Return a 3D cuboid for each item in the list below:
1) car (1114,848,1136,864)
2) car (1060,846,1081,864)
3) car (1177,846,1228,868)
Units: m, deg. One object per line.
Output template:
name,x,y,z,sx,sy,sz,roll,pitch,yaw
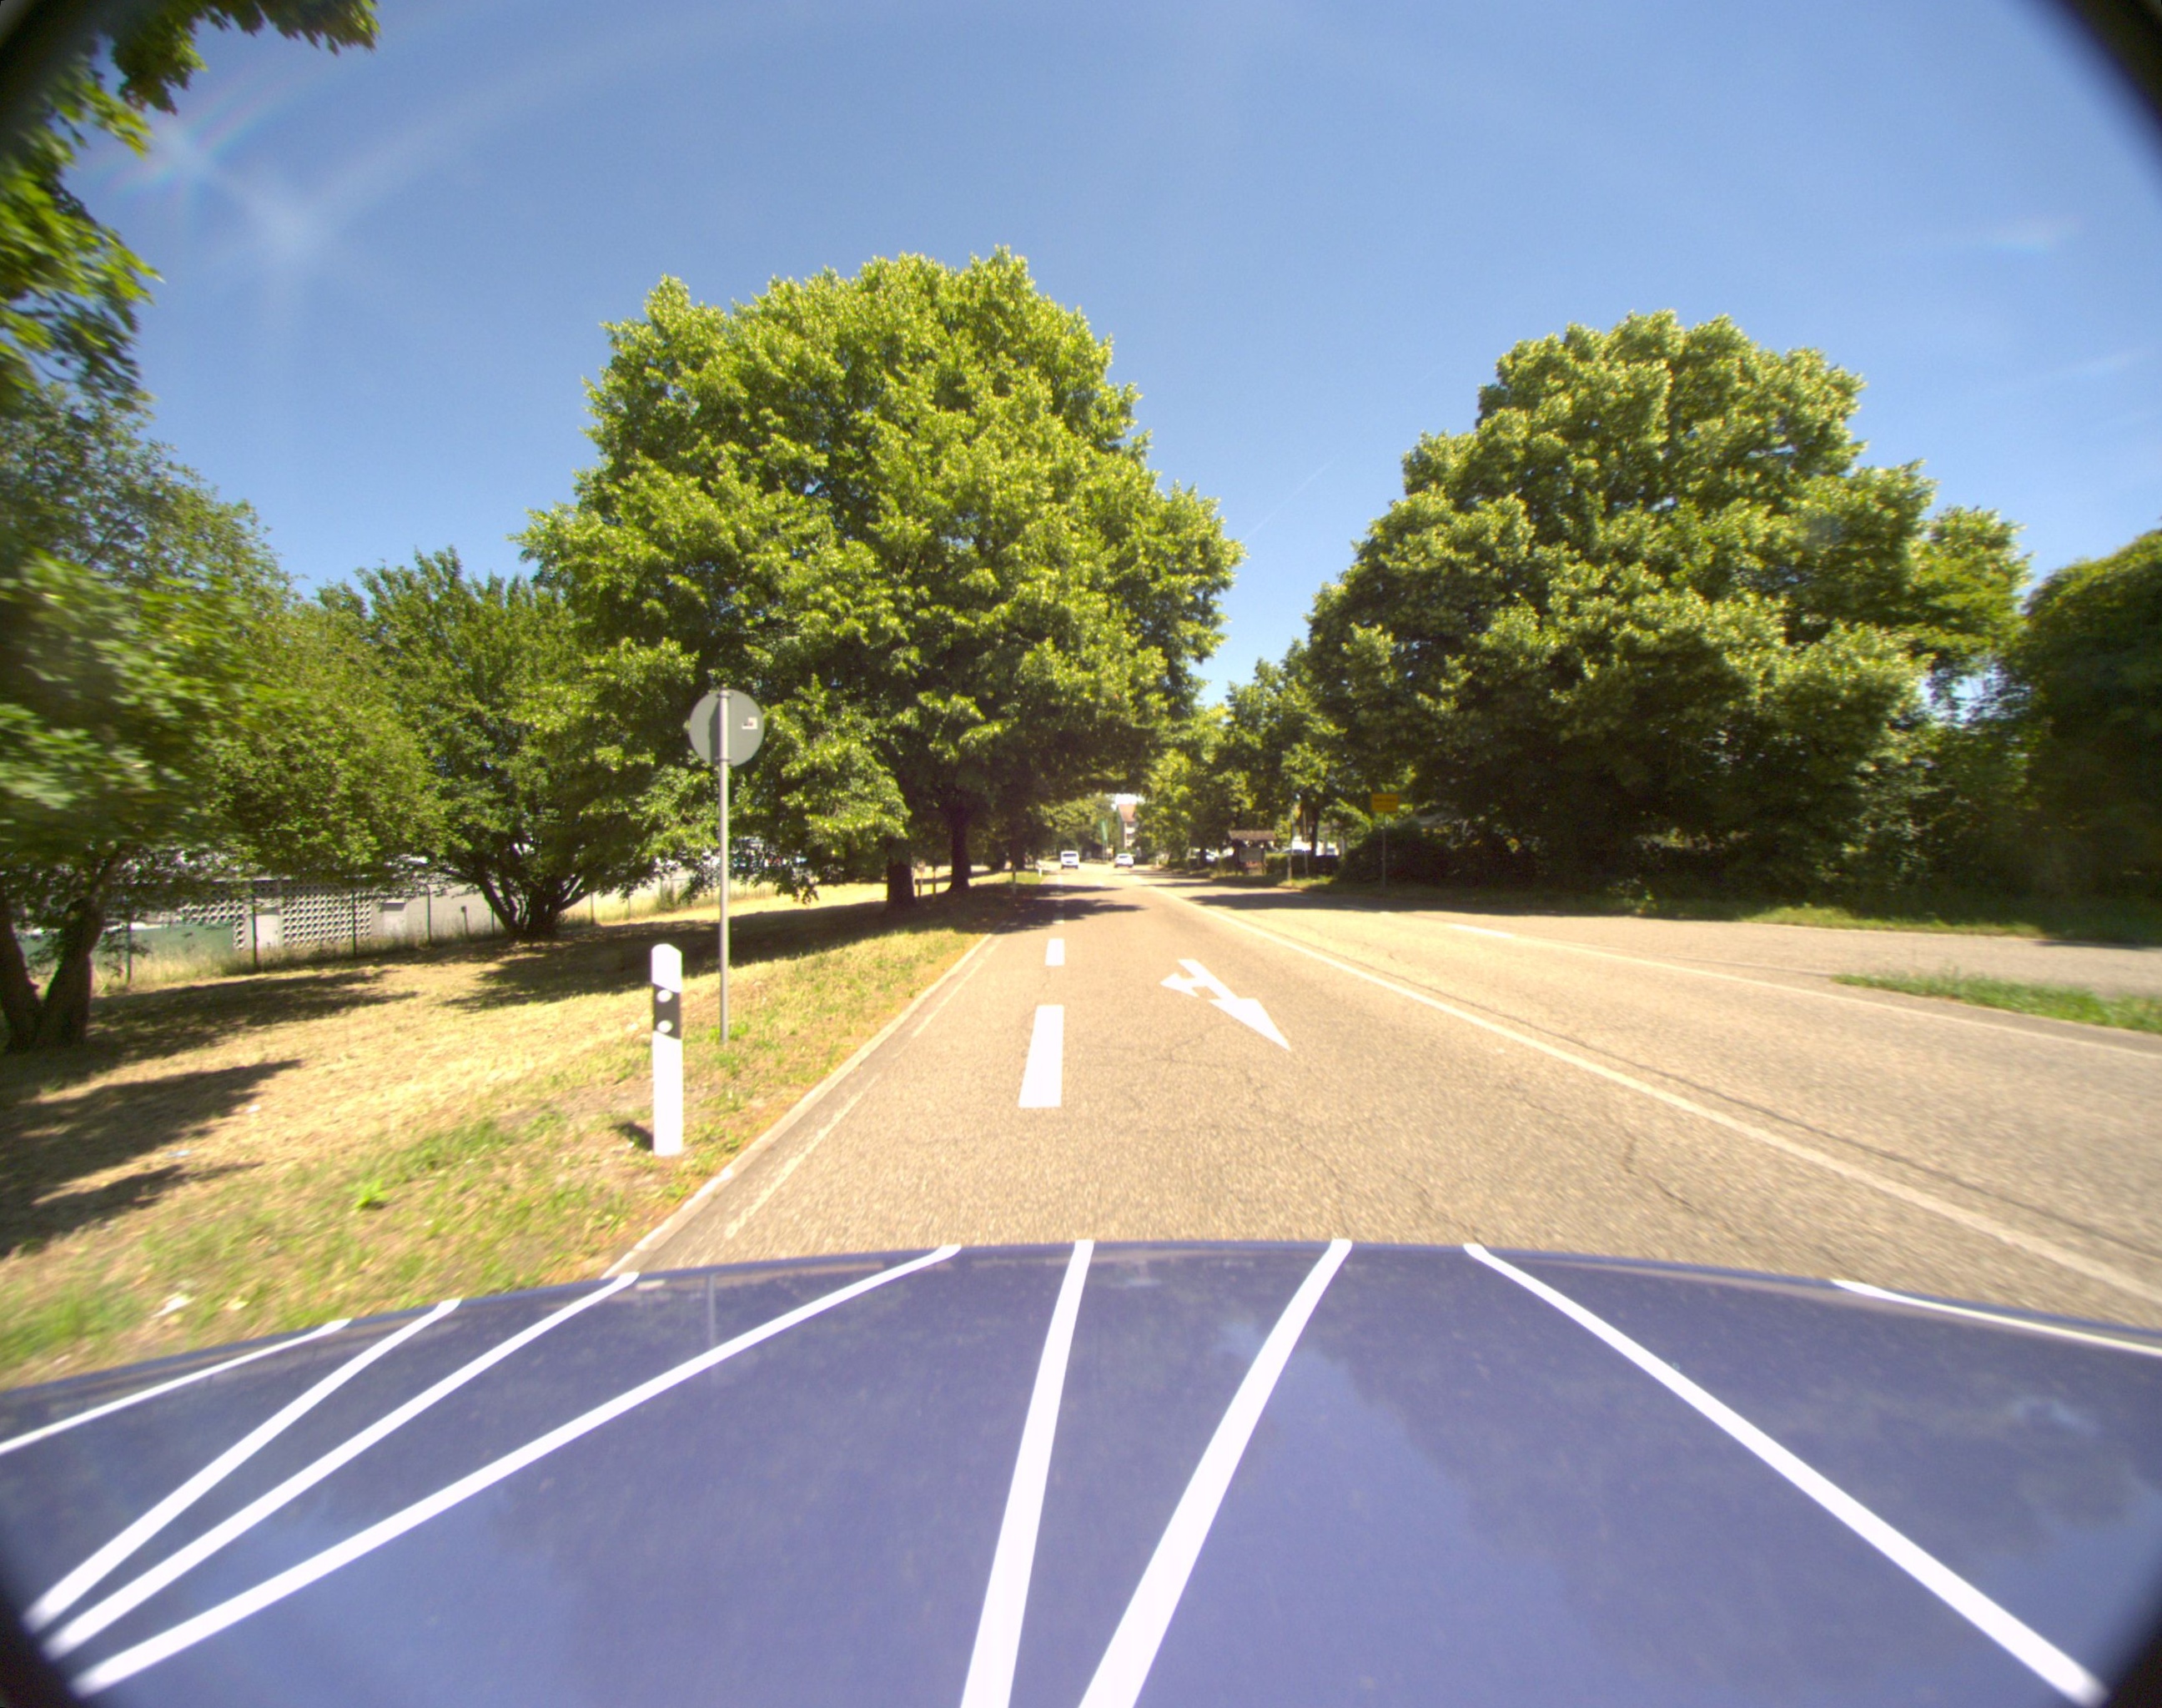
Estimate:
car,5.014,0.195,86.269,2.100,1.579,4.474,-3,1,-1
car,-1.214,0.083,85.718,1.797,1.904,3.637,-1,1,-9
car,11.354,0.263,71.268,4.369,1.969,1.904,-2,1,-5
